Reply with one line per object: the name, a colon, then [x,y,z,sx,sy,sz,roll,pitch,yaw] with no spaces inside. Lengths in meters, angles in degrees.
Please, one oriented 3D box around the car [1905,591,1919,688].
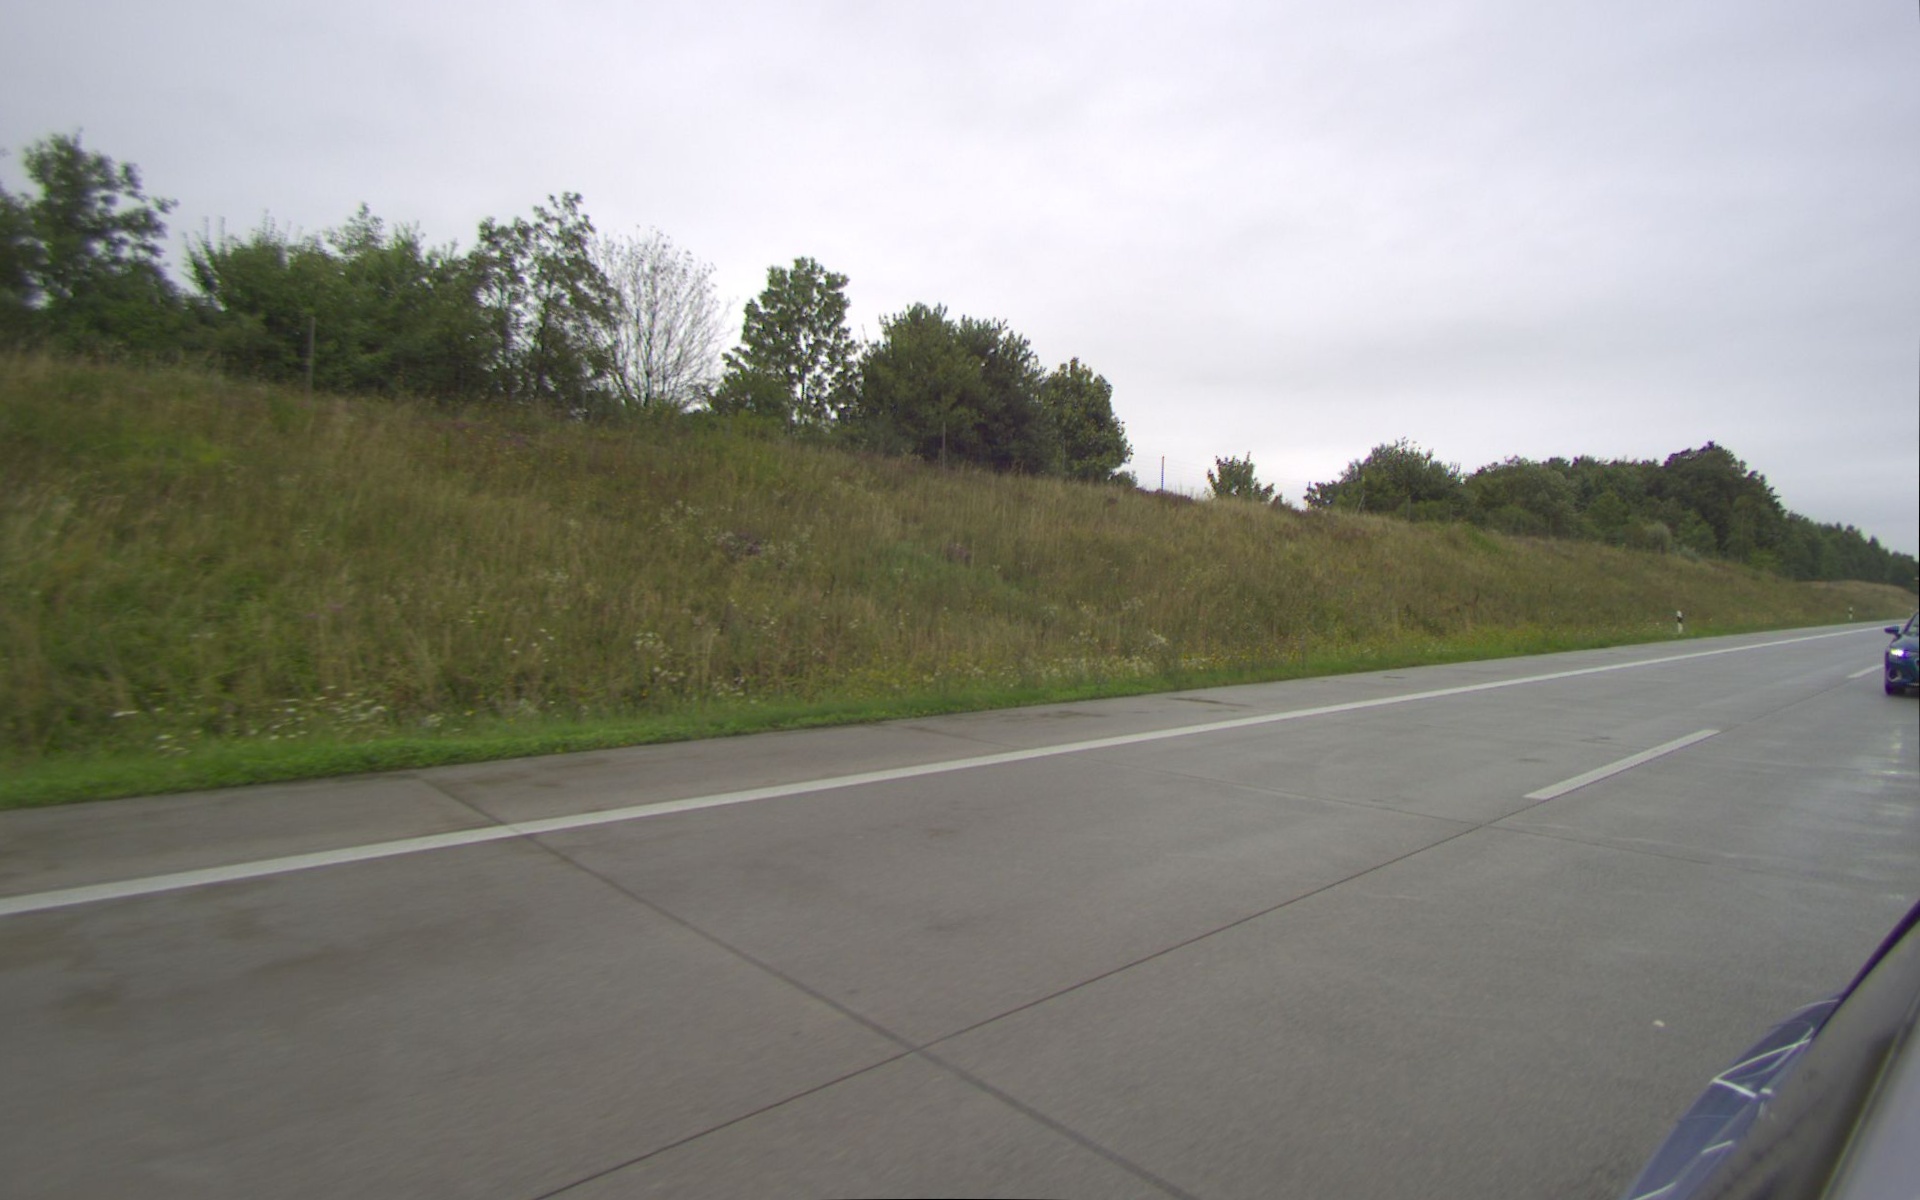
car: [16.839,0.617,16.450,4.591,1.477,1.732,0,1,-42]
